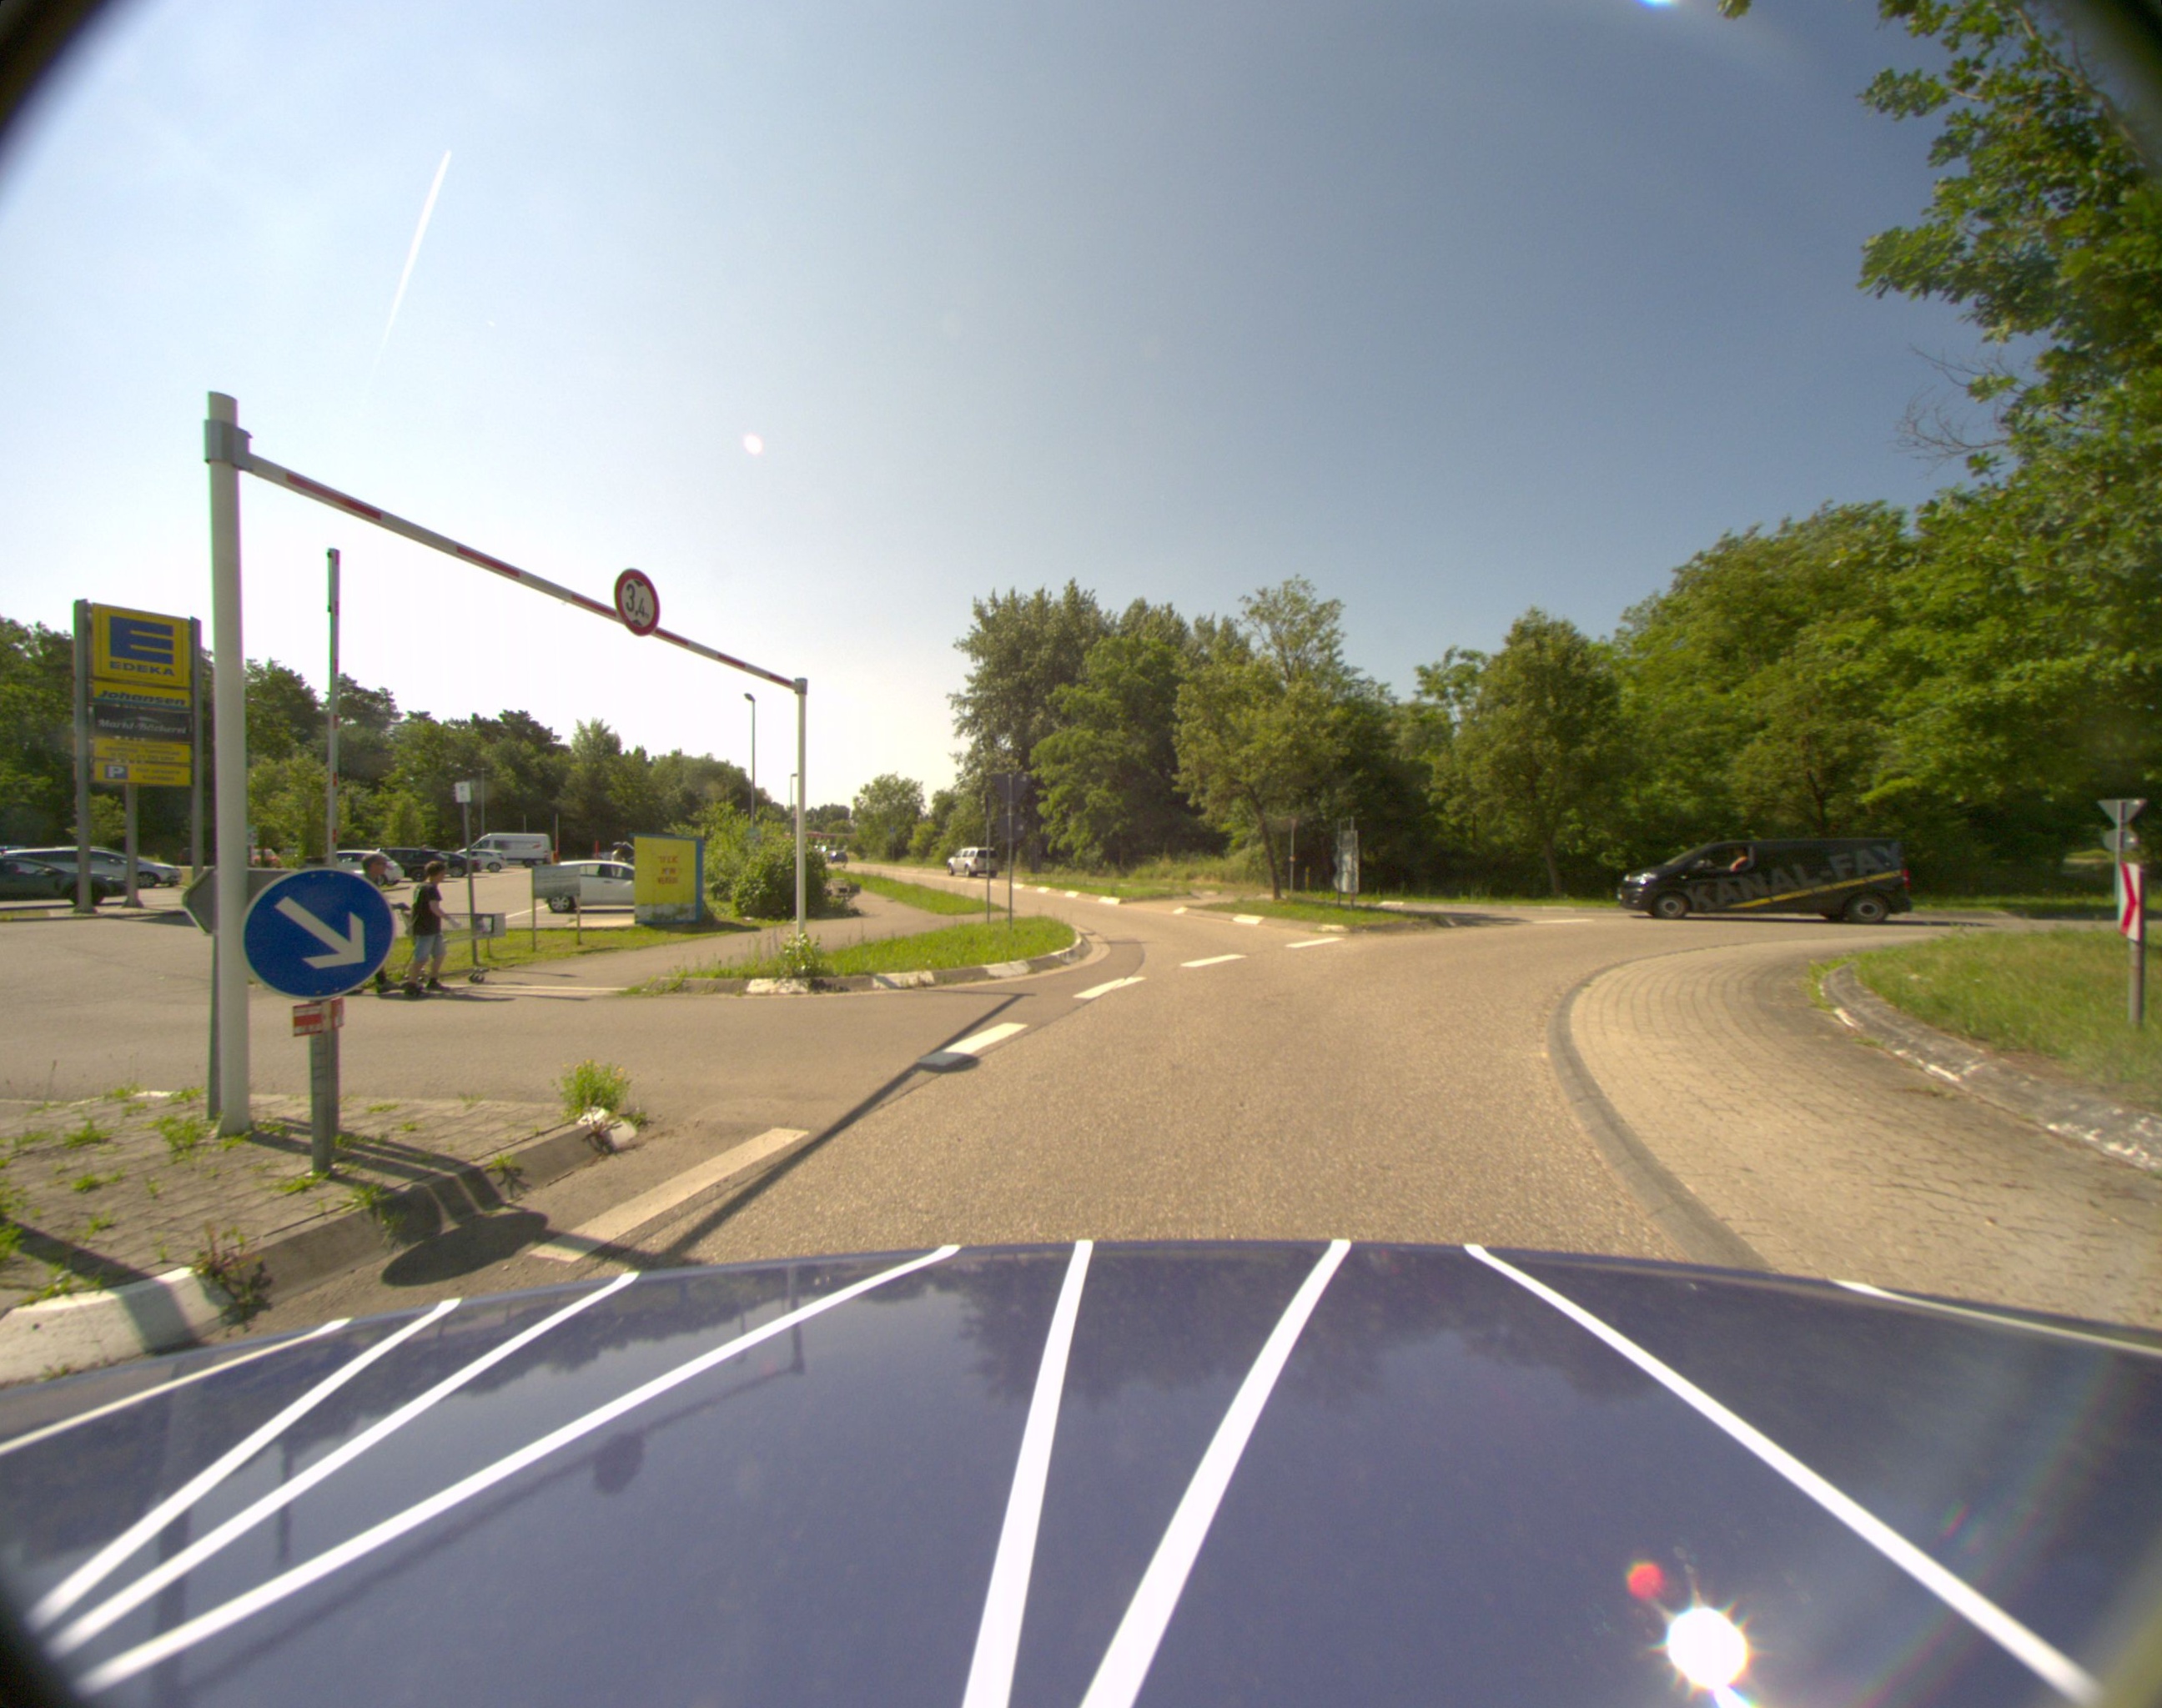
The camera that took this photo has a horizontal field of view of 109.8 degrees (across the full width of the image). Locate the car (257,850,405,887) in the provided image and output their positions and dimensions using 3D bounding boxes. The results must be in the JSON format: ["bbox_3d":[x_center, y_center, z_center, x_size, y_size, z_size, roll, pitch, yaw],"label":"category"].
[{"bbox_3d":[-30.609,0.562,31.178,4.006,1.434,1.647,0,1,-27],"label":"car"}]

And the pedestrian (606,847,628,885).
[{"bbox_3d":[-22.319,0.562,36.551,0.822,1.787,0.864,0,1,-27],"label":"pedestrian"}]

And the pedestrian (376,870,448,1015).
[{"bbox_3d":[-8.051,1.023,9.172,0.597,1.638,0.702,-1,1,-39],"label":"pedestrian"}]

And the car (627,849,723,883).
[{"bbox_3d":[-20.145,0.546,37.838,4.139,1.618,1.748,0,1,-28],"label":"car"}]

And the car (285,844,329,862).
[{"bbox_3d":[-65.477,-0.065,64.263,3.988,1.477,2.076,0,1,37],"label":"car"}]

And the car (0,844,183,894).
[{"bbox_3d":[-39.376,0.537,30.178,1.994,1.693,4.568,1,3,37],"label":"car"}]

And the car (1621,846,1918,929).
[{"bbox_3d":[15.498,0.677,17.555,4.705,1.704,2.105,0,1,28],"label":"car"}]

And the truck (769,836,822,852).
[{"bbox_3d":[-61.640,-2.154,164.240,10.357,3.374,3.875,0,1,-29],"label":"truck"}]

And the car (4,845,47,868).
[{"bbox_3d":[-73.742,0.147,53.119,4.360,1.477,1.666,1,1,37],"label":"car"}]

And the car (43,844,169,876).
[{"bbox_3d":[-51.821,0.284,40.509,1.965,1.575,4.008,1,1,41],"label":"car"}]

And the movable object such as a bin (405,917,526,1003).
[{"bbox_3d":[-8.274,1.386,10.251,1.206,0.949,0.878,-1,1,-39],"label":"movable object such as a bin"}]

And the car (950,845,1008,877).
[{"bbox_3d":[-6.285,0.379,46.267,1.903,1.805,4.584,0,1,-30],"label":"car"}]

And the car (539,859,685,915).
[{"bbox_3d":[-14.162,0.970,23.174,3.611,1.553,1.810,1,0,-26],"label":"car"}]

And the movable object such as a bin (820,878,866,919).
[{"bbox_3d":[-7.000,1.300,22.449,0.870,1.114,1.455,0,1,1],"label":"movable object such as a bin"}]

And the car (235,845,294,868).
[{"bbox_3d":[-56.882,0.158,52.914,4.481,1.457,2.004,1,1,33],"label":"car"}]

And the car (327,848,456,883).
[{"bbox_3d":[-32.676,0.503,36.198,4.173,1.565,1.995,-1,1,-30],"label":"car"}]

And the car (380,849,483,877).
[{"bbox_3d":[-34.928,0.452,41.004,4.007,1.419,1.744,0,1,-34],"label":"car"}]

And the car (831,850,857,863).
[{"bbox_3d":[-26.235,0.251,83.909,1.842,1.379,4.413,1,0,-29],"label":"car"}]

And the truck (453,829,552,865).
[{"bbox_3d":[-43.714,-0.496,57.603,5.626,2.590,2.198,0,1,-28],"label":"truck"}]

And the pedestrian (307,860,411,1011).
[{"bbox_3d":[-9.069,0.967,9.587,0.844,1.775,0.878,-1,1,-38],"label":"pedestrian"}]

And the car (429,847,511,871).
[{"bbox_3d":[-38.666,0.310,48.247,3.982,1.445,1.899,0,1,-37],"label":"car"}]

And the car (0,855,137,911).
[{"bbox_3d":[-31.171,0.839,22.474,1.656,1.579,4.008,1,1,37],"label":"car"}]

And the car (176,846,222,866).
[{"bbox_3d":[-69.352,0.147,59.705,3.988,1.477,2.076,0,1,37],"label":"car"}]
